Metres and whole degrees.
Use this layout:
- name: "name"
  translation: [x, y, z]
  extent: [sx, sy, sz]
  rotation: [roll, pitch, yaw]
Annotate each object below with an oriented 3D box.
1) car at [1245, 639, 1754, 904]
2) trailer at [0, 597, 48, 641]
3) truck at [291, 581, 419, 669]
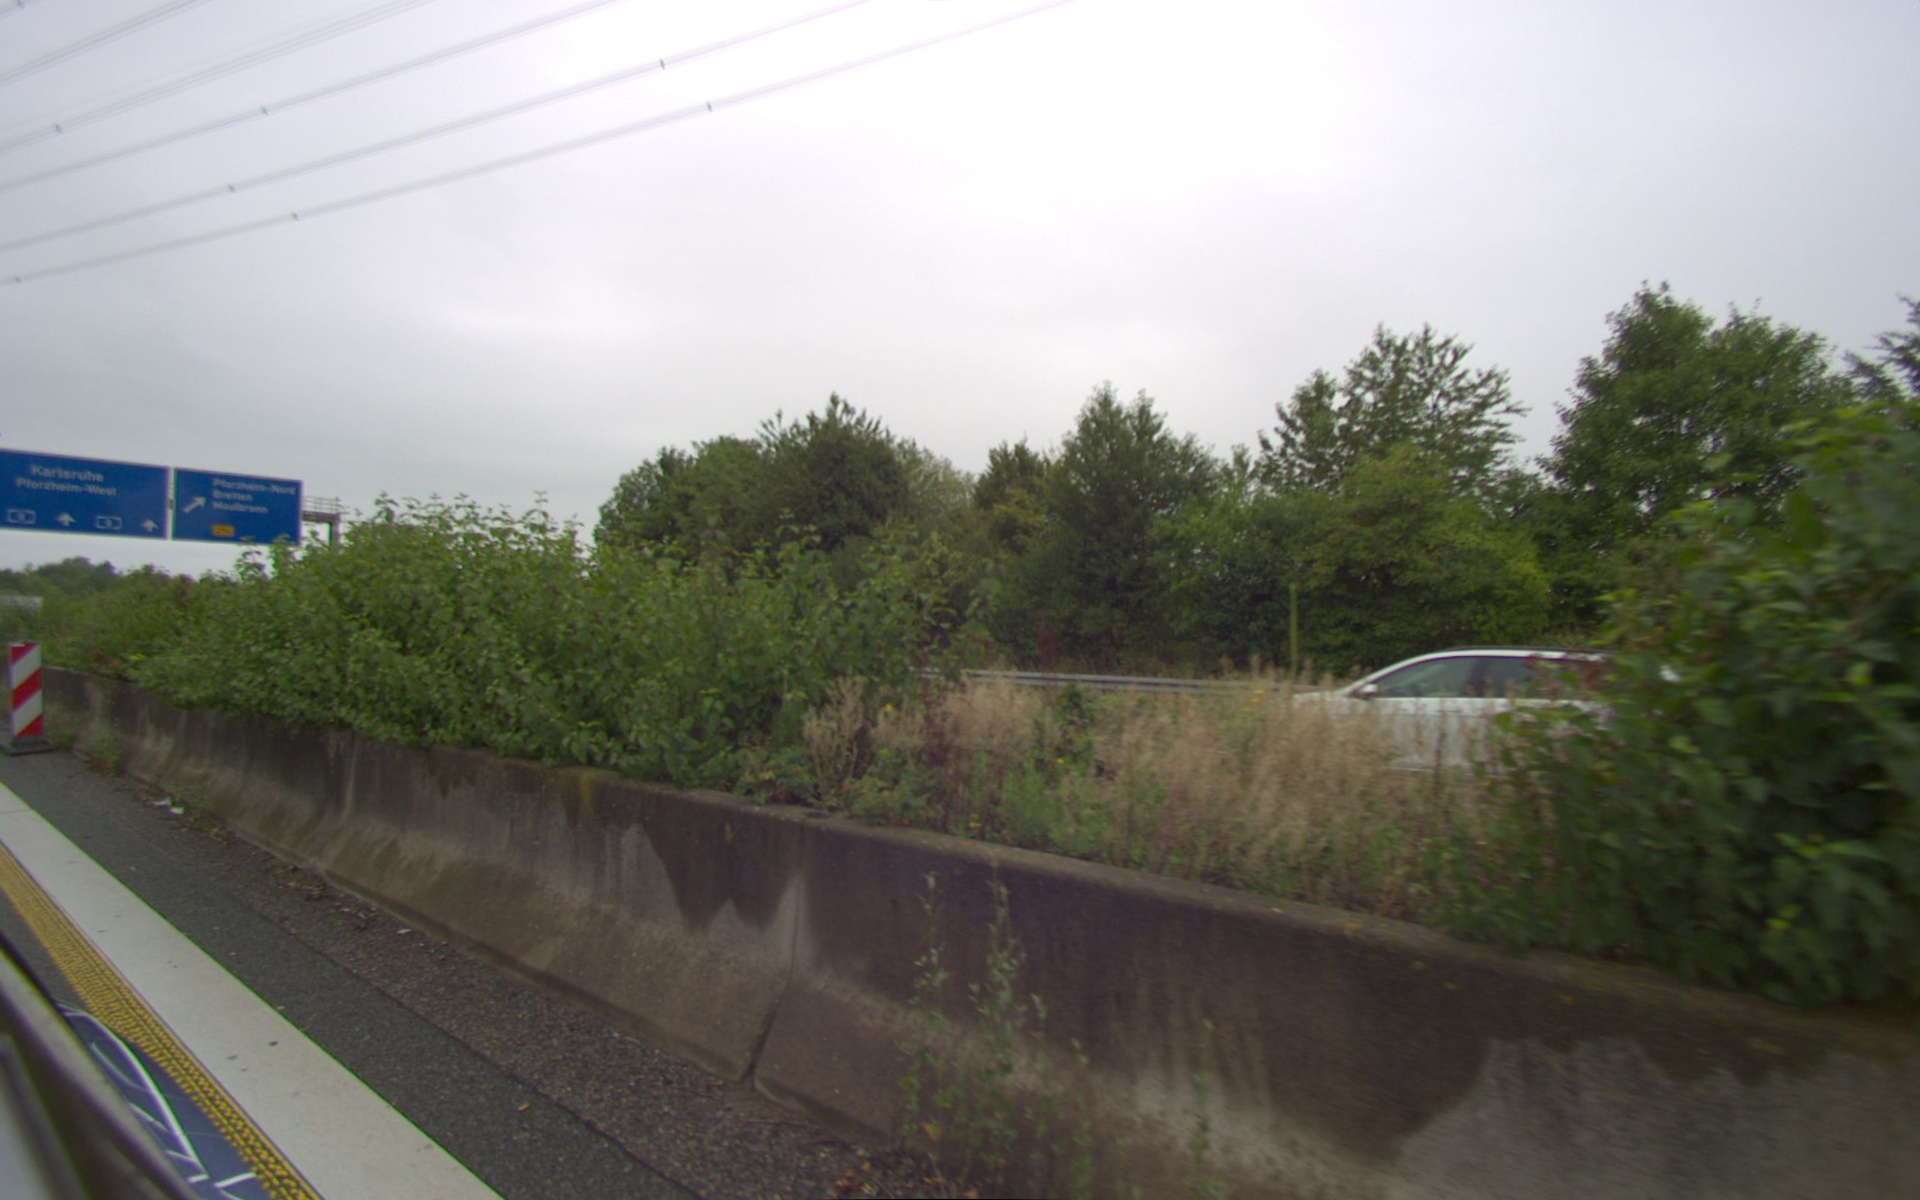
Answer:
- name: "car"
  translation: [5.144, 1.429, 9.993]
  extent: [4.158, 1.948, 1.714]
  rotation: [0, 0, 41]
- name: "trailer"
  translation: [-94.292, 1.955, 101.079]
  extent: [13.240, 4.054, 2.757]
  rotation: [-1, -4, 40]
- name: "truck"
  translation: [-24.628, 1.035, 41.043]
  extent: [7.049, 3.252, 2.237]
  rotation: [-1, -5, 41]
